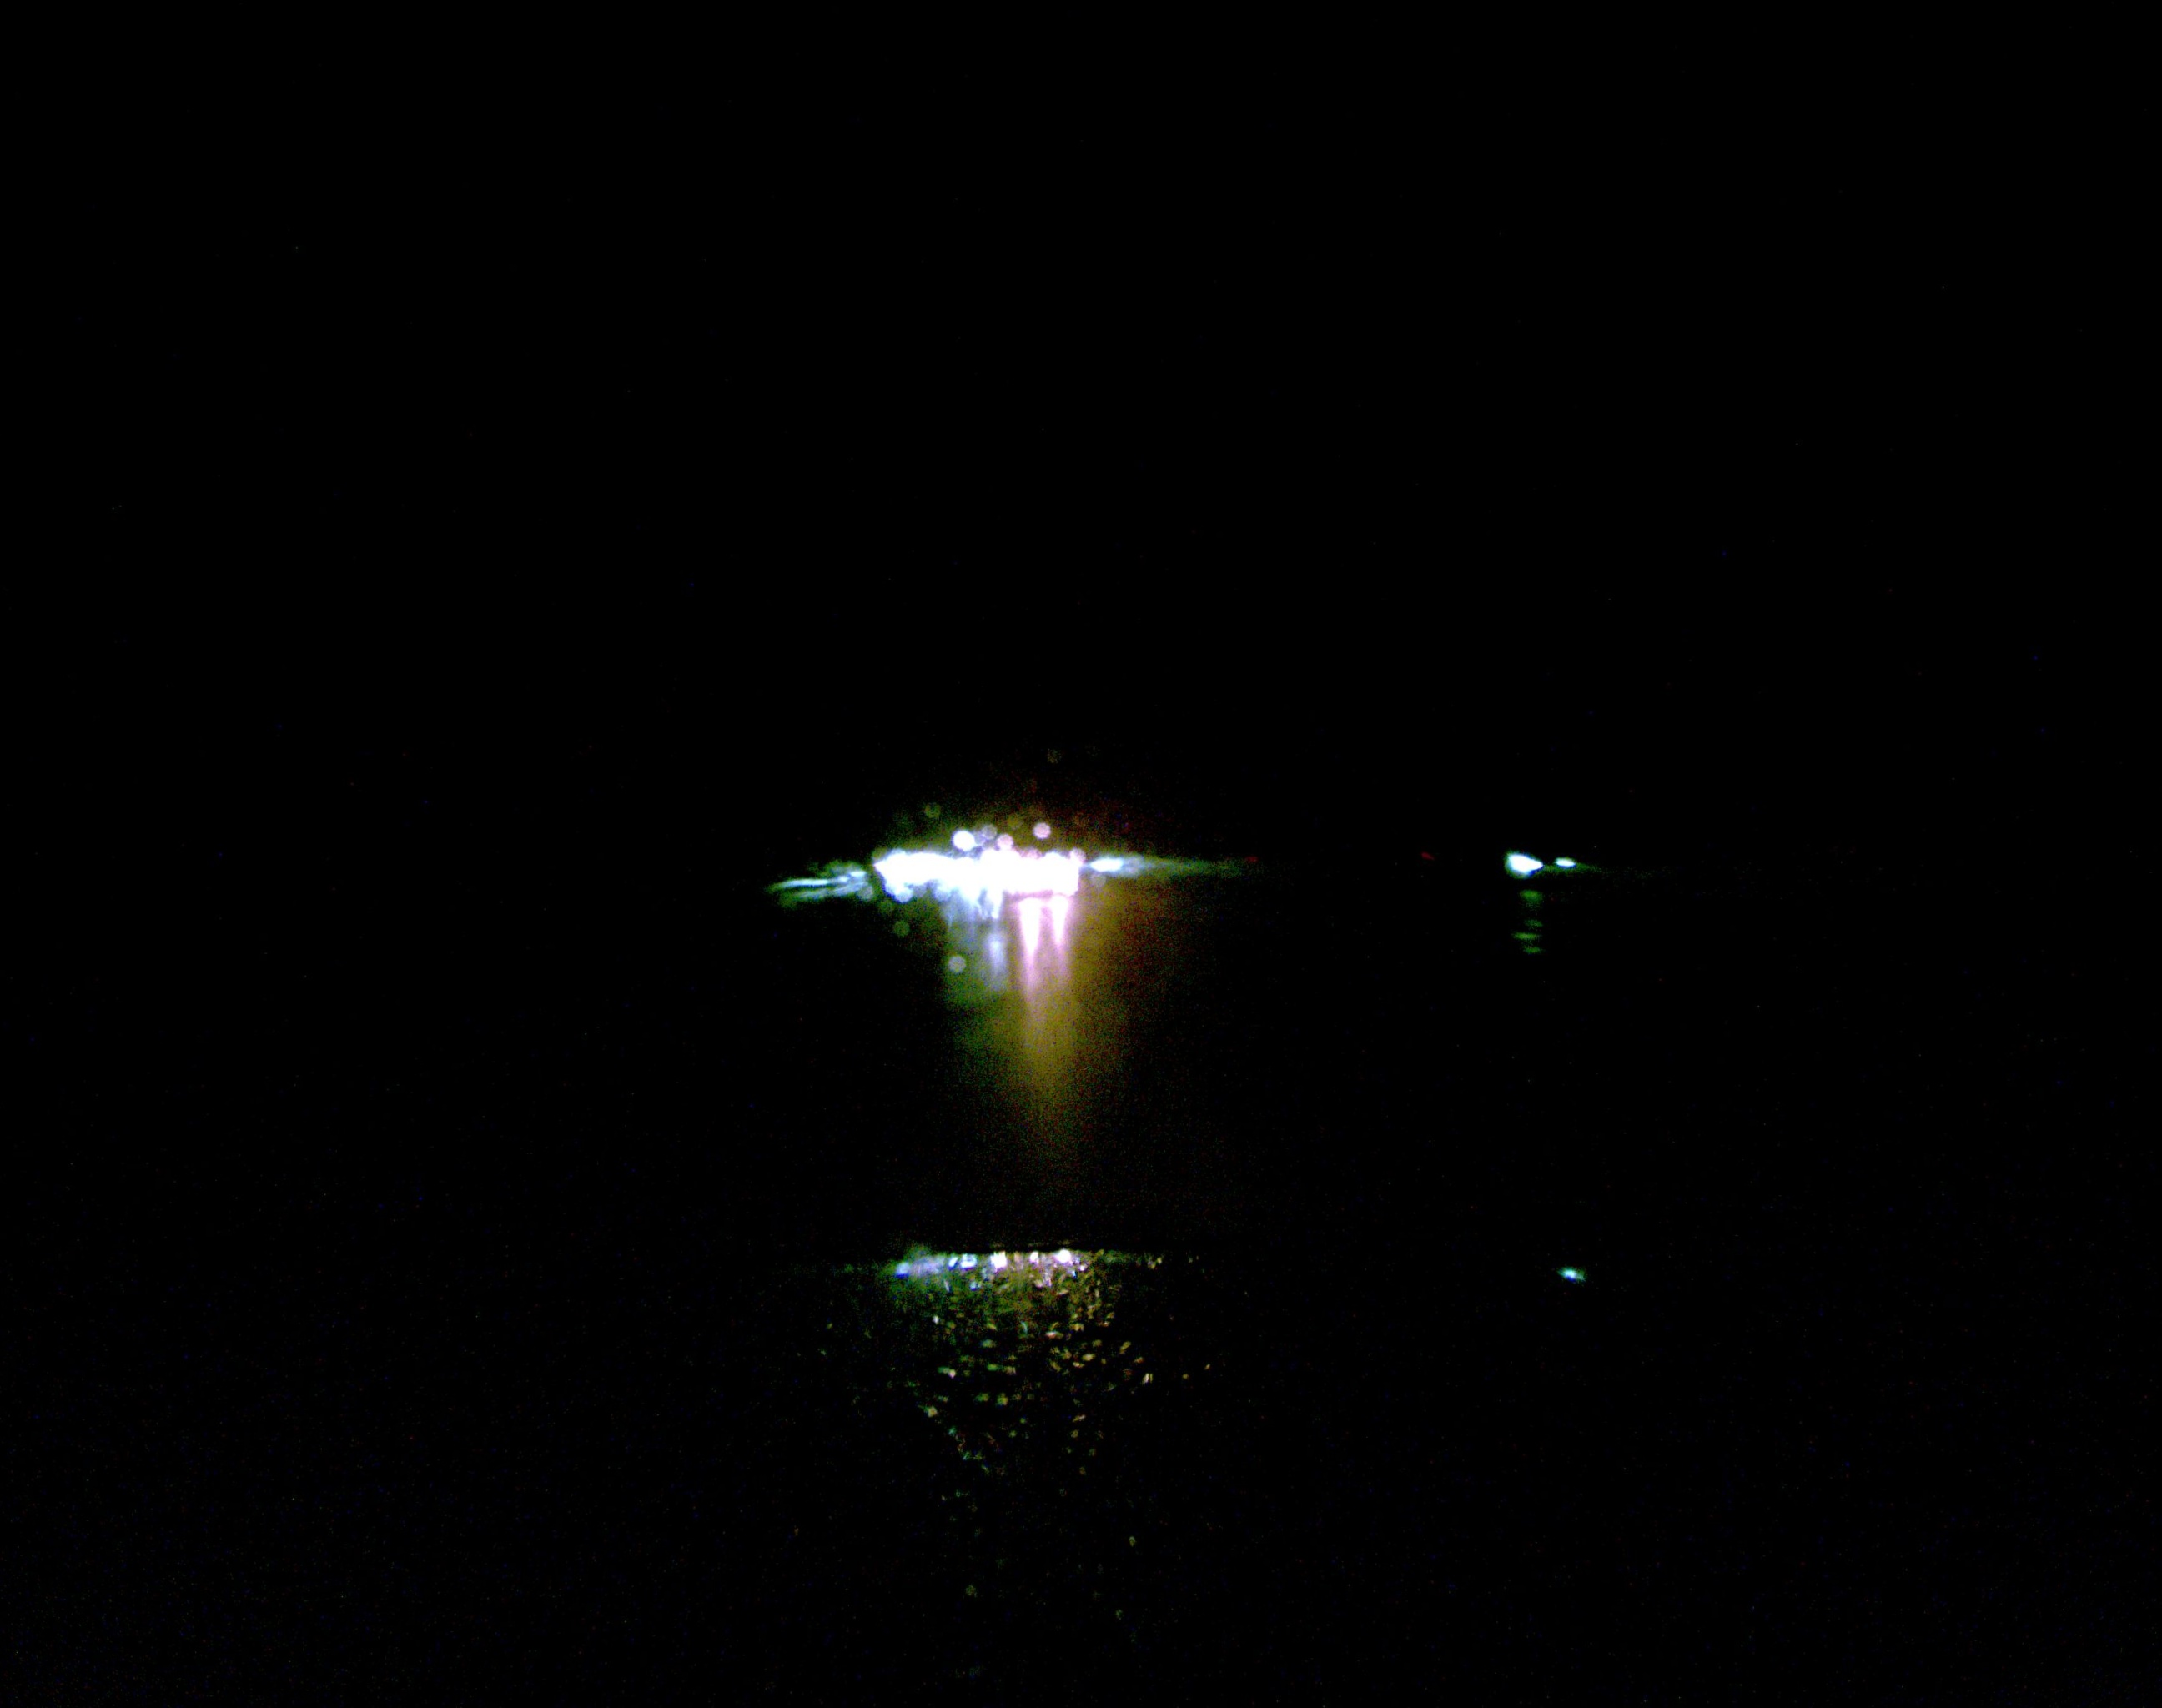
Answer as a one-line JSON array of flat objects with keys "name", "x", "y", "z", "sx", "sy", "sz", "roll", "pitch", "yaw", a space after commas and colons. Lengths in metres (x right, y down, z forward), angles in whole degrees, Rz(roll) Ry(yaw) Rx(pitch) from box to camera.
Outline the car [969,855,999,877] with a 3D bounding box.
[{"name": "car", "x": -7.325, "y": 0.854, "z": 57.134, "sx": 1.815, "sy": 1.477, "sz": 3.578, "roll": -4, "pitch": 1, "yaw": -12}]

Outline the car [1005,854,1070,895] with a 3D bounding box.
[{"name": "car", "x": -1.959, "y": 0.888, "z": 32.950, "sx": 2.001, "sy": 1.542, "sz": 3.996, "roll": -4, "pitch": -1, "yaw": -15}]

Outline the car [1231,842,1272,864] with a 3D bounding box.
[{"name": "car", "x": 15.347, "y": -0.116, "z": 68.685, "sx": 1.911, "sy": 1.797, "sz": 3.995, "roll": -4, "pitch": 1, "yaw": -14}]

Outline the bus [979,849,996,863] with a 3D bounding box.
[{"name": "bus", "x": -31.625, "y": 0.702, "z": 256.167, "sx": 3.086, "sy": 4.464, "sz": 16.988, "roll": -4, "pitch": 1, "yaw": -15}]

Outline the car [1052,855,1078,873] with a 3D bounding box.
[{"name": "car", "x": -1.813, "y": 1.055, "z": 84.904, "sx": 2.001, "sy": 1.797, "sz": 3.995, "roll": -4, "pitch": 1, "yaw": -14}]

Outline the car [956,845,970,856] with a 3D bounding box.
[{"name": "car", "x": -22.044, "y": -0.616, "z": 141.907, "sx": 2.001, "sy": 1.797, "sz": 3.995, "roll": -4, "pitch": 1, "yaw": -14}]

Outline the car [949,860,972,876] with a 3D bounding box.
[{"name": "car", "x": -12.300, "y": 1.399, "z": 77.212, "sx": 1.815, "sy": 1.477, "sz": 3.577, "roll": -4, "pitch": 1, "yaw": -16}]

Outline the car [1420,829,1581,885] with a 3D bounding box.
[{"name": "car", "x": 13.581, "y": 0.061, "z": 24.987, "sx": 2.001, "sy": 1.552, "sz": 4.581, "roll": -4, "pitch": 1, "yaw": -14}]

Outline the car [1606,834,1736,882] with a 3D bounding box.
[{"name": "car", "x": 25.025, "y": 0.136, "z": 32.404, "sx": 1.911, "sy": 1.797, "sz": 3.995, "roll": -4, "pitch": 1, "yaw": -14}]

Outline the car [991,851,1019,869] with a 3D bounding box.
[{"name": "car", "x": -7.505, "y": 0.574, "z": 74.574, "sx": 2.001, "sy": 1.552, "sz": 4.581, "roll": -4, "pitch": 1, "yaw": -14}]

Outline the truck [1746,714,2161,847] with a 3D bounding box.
[{"name": "truck", "x": 30.444, "y": -2.217, "z": 26.710, "sx": 2.635, "sy": 3.672, "sz": 10.848, "roll": -4, "pitch": 1, "yaw": -16}]
